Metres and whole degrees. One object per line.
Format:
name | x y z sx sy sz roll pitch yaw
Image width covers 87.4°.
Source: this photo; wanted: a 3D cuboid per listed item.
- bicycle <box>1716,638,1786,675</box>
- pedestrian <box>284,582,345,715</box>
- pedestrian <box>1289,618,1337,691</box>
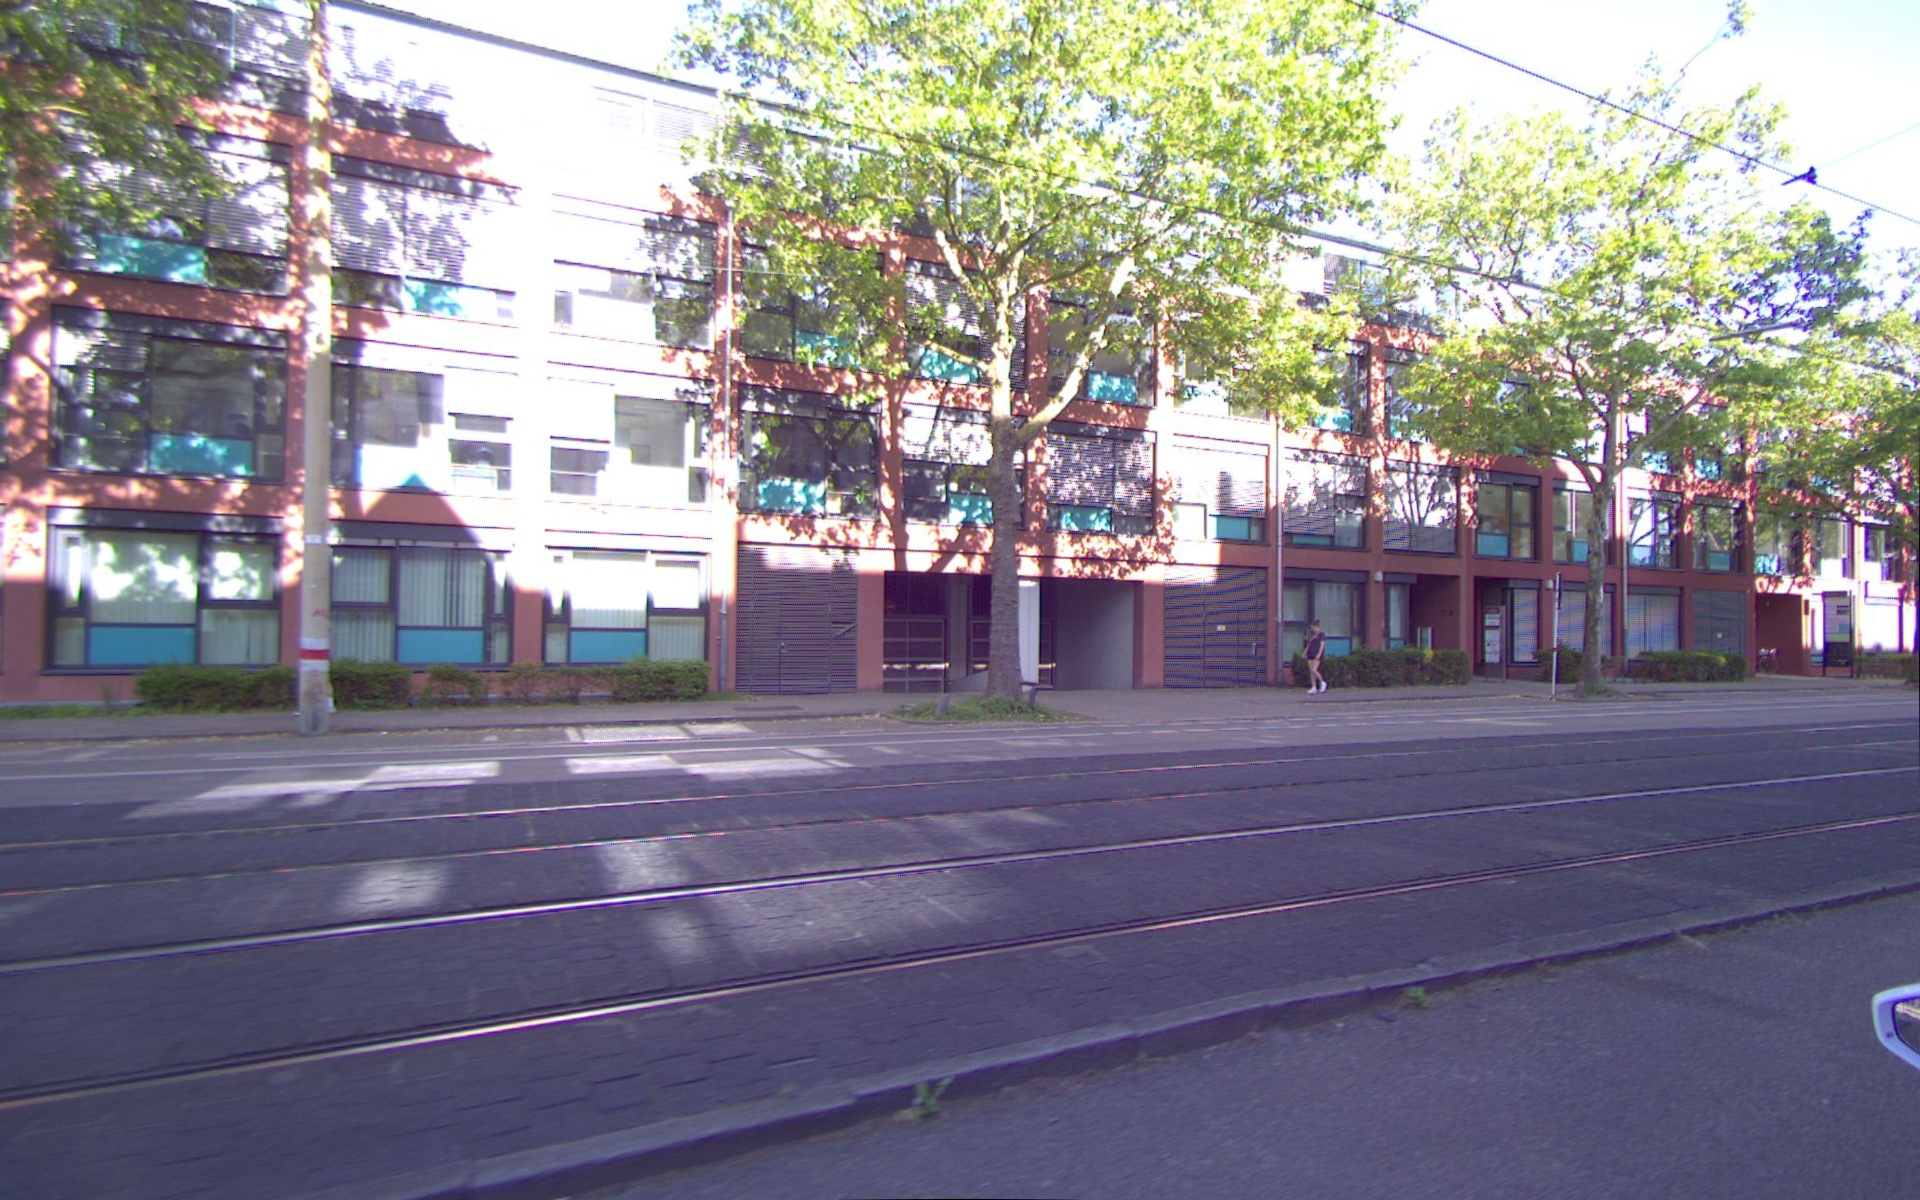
bicycle | 30.596 2.173 38.883 0.610 1.289 2.056 0 1 -24
pedestrian | -10.321 0.747 16.076 0.772 2.040 0.905 1 0 -33
pedestrian | 8.595 1.317 24.480 0.888 1.741 0.623 1 1 -26
